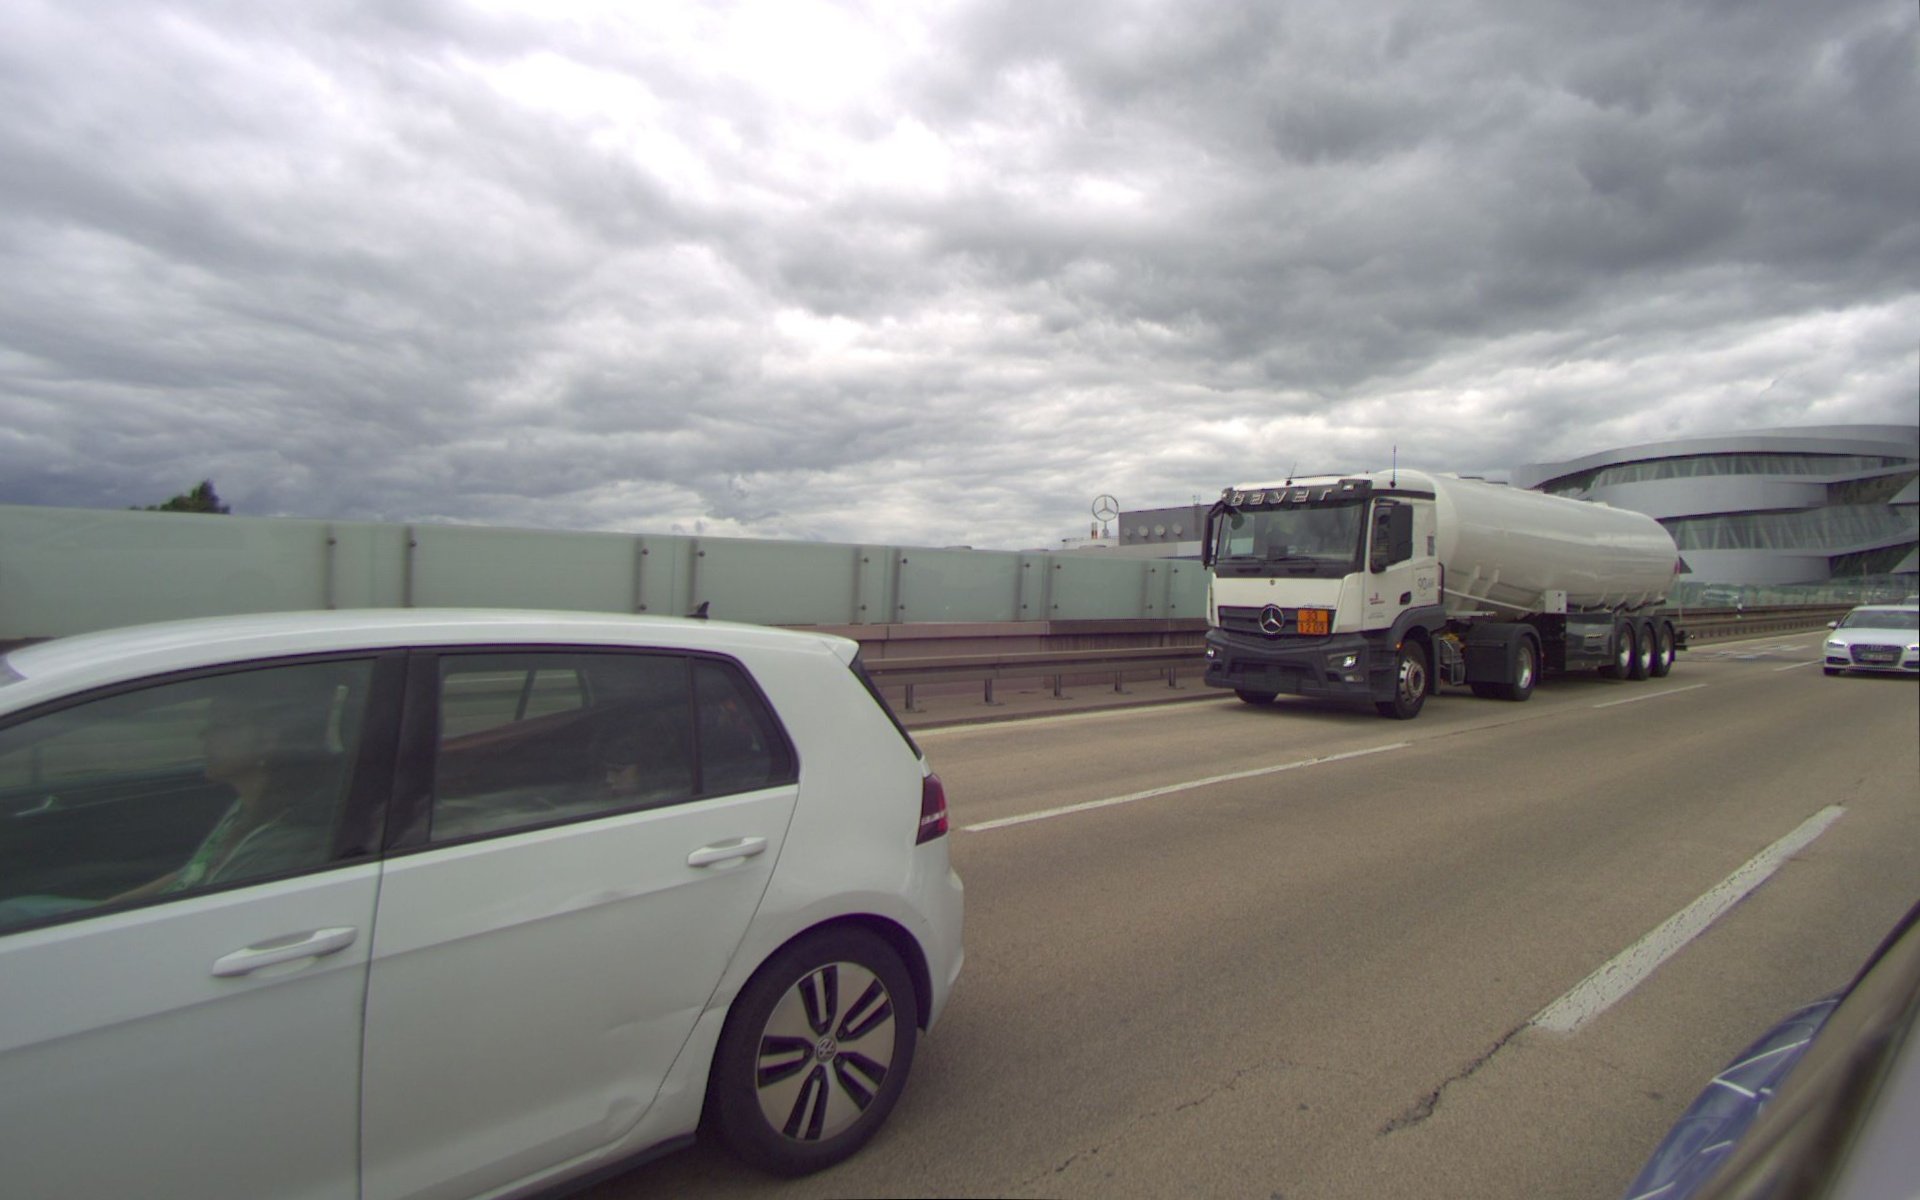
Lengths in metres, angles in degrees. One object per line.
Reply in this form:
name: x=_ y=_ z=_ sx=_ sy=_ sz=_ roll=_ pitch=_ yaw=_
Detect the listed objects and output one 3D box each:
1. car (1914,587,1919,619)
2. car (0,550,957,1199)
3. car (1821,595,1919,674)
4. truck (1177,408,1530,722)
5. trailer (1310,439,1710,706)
car: x=51.499 y=0.165 z=53.060 sx=3.563 sy=1.654 sz=1.784 roll=-1 pitch=1 yaw=-40
car: x=-2.080 y=0.645 z=2.156 sx=4.002 sy=1.470 sz=1.757 roll=0 pitch=1 yaw=-42
car: x=19.226 y=0.646 z=20.636 sx=3.861 sy=1.470 sz=1.848 roll=0 pitch=0 yaw=-38
truck: x=5.561 y=-0.391 z=14.043 sx=4.817 sy=3.558 sz=2.635 roll=1 pitch=0 yaw=-41
trailer: x=10.442 y=-0.433 z=18.268 sx=11.024 sy=3.588 sz=2.655 roll=-1 pitch=0 yaw=-41
